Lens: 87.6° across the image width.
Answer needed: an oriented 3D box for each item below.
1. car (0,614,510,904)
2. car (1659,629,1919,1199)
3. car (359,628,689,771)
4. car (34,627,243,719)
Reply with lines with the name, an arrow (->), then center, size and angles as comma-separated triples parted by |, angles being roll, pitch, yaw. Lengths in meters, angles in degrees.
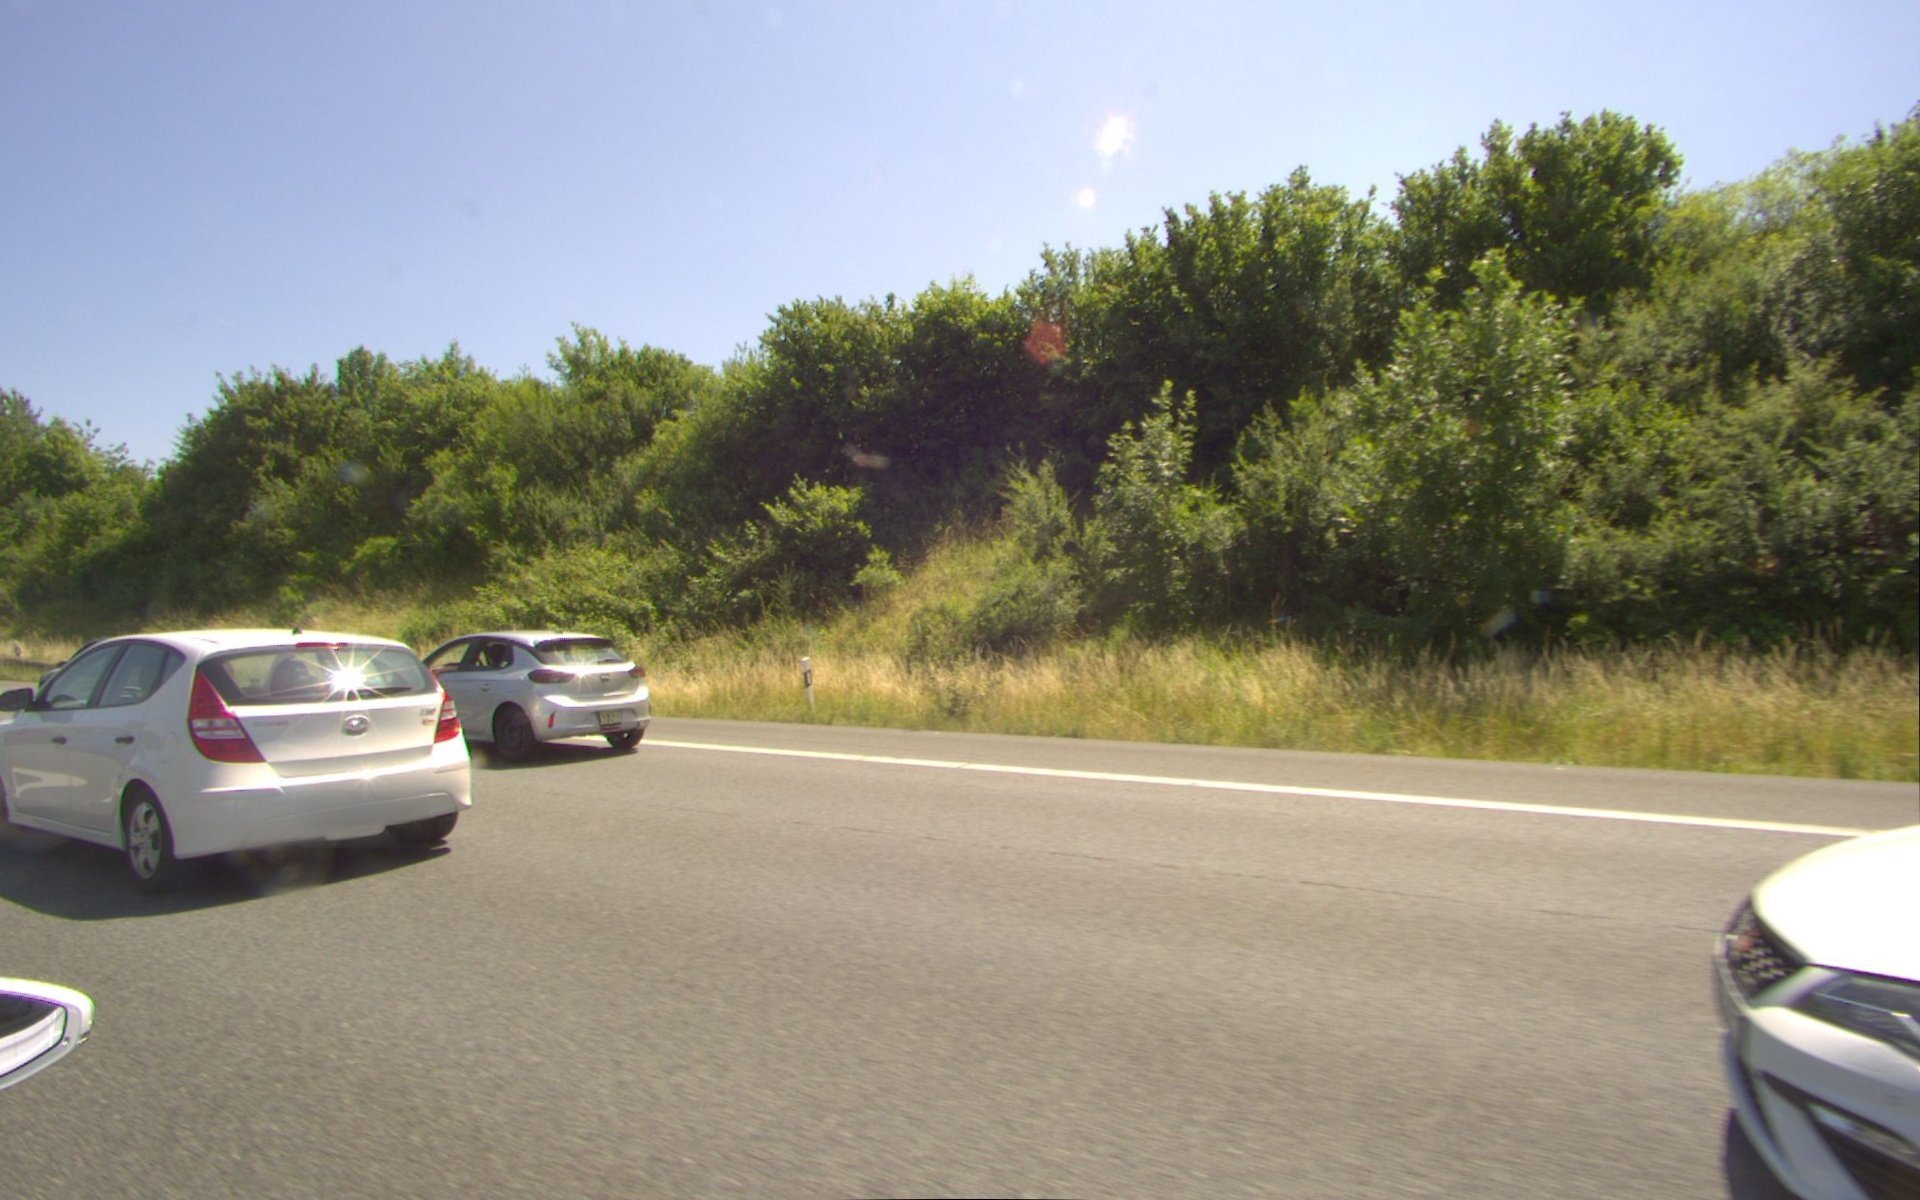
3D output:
car -> -5.184, 0.896, 7.011 | 3.943, 1.504, 1.814 | -2, -2, 32
car -> 3.780, 0.765, 1.573 | 4.251, 1.461, 1.745 | -2, -2, 32
car -> -5.386, 1.093, 12.271 | 3.968, 1.462, 1.728 | 0, -1, 31
car -> -14.520, 1.234, 17.658 | 3.931, 1.435, 1.638 | -2, -1, 32
